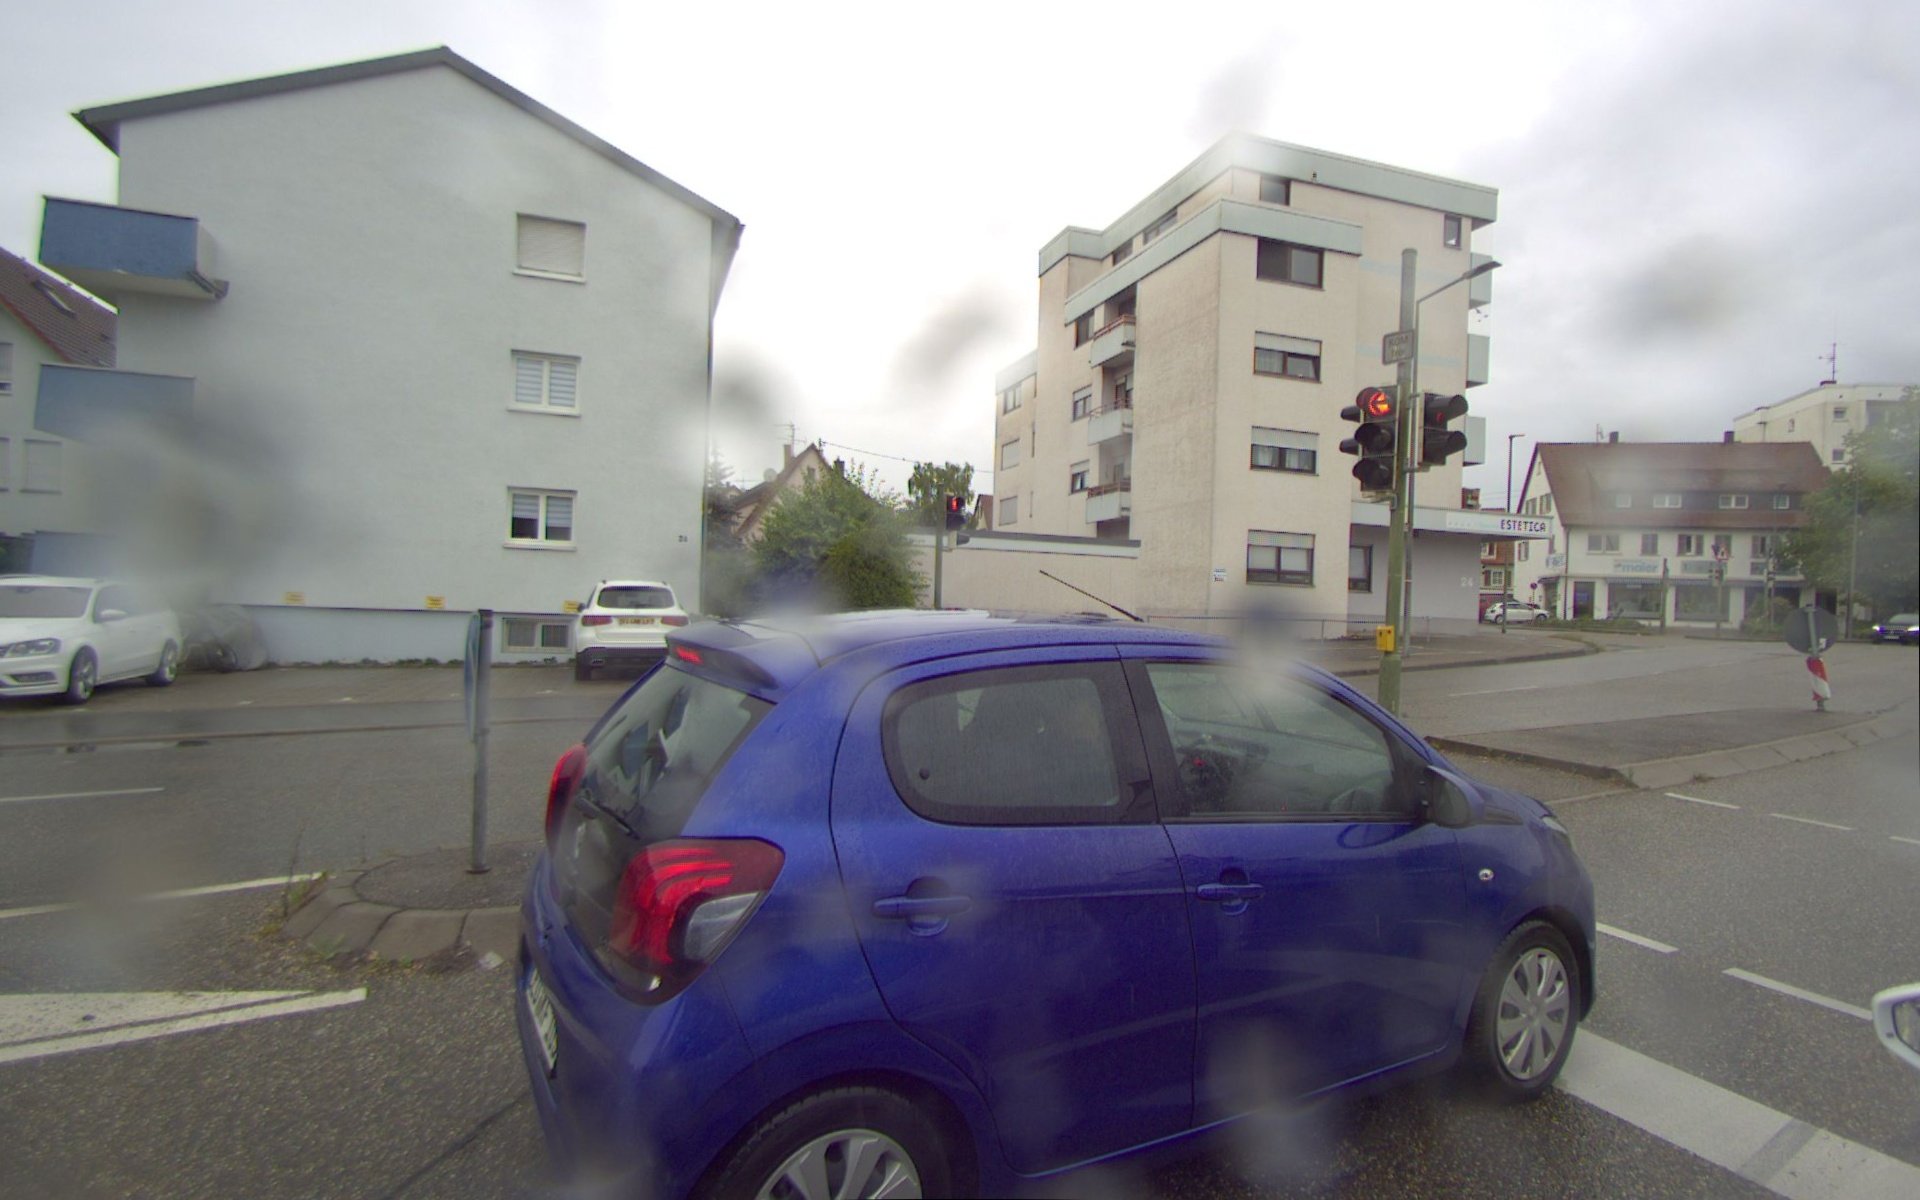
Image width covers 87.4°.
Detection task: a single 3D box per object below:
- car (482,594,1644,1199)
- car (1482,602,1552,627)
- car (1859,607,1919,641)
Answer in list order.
[{"bbox_3d":[0.380,0.736,3.078,3.231,1.429,1.571,1,1,-30],"label":"car"},{"bbox_3d":[38.147,0.984,68.885,3.887,1.593,1.873,1,1,17],"label":"car"},{"bbox_3d":[42.383,1.063,45.196,3.785,1.439,1.770,1,0,-30],"label":"car"}]
